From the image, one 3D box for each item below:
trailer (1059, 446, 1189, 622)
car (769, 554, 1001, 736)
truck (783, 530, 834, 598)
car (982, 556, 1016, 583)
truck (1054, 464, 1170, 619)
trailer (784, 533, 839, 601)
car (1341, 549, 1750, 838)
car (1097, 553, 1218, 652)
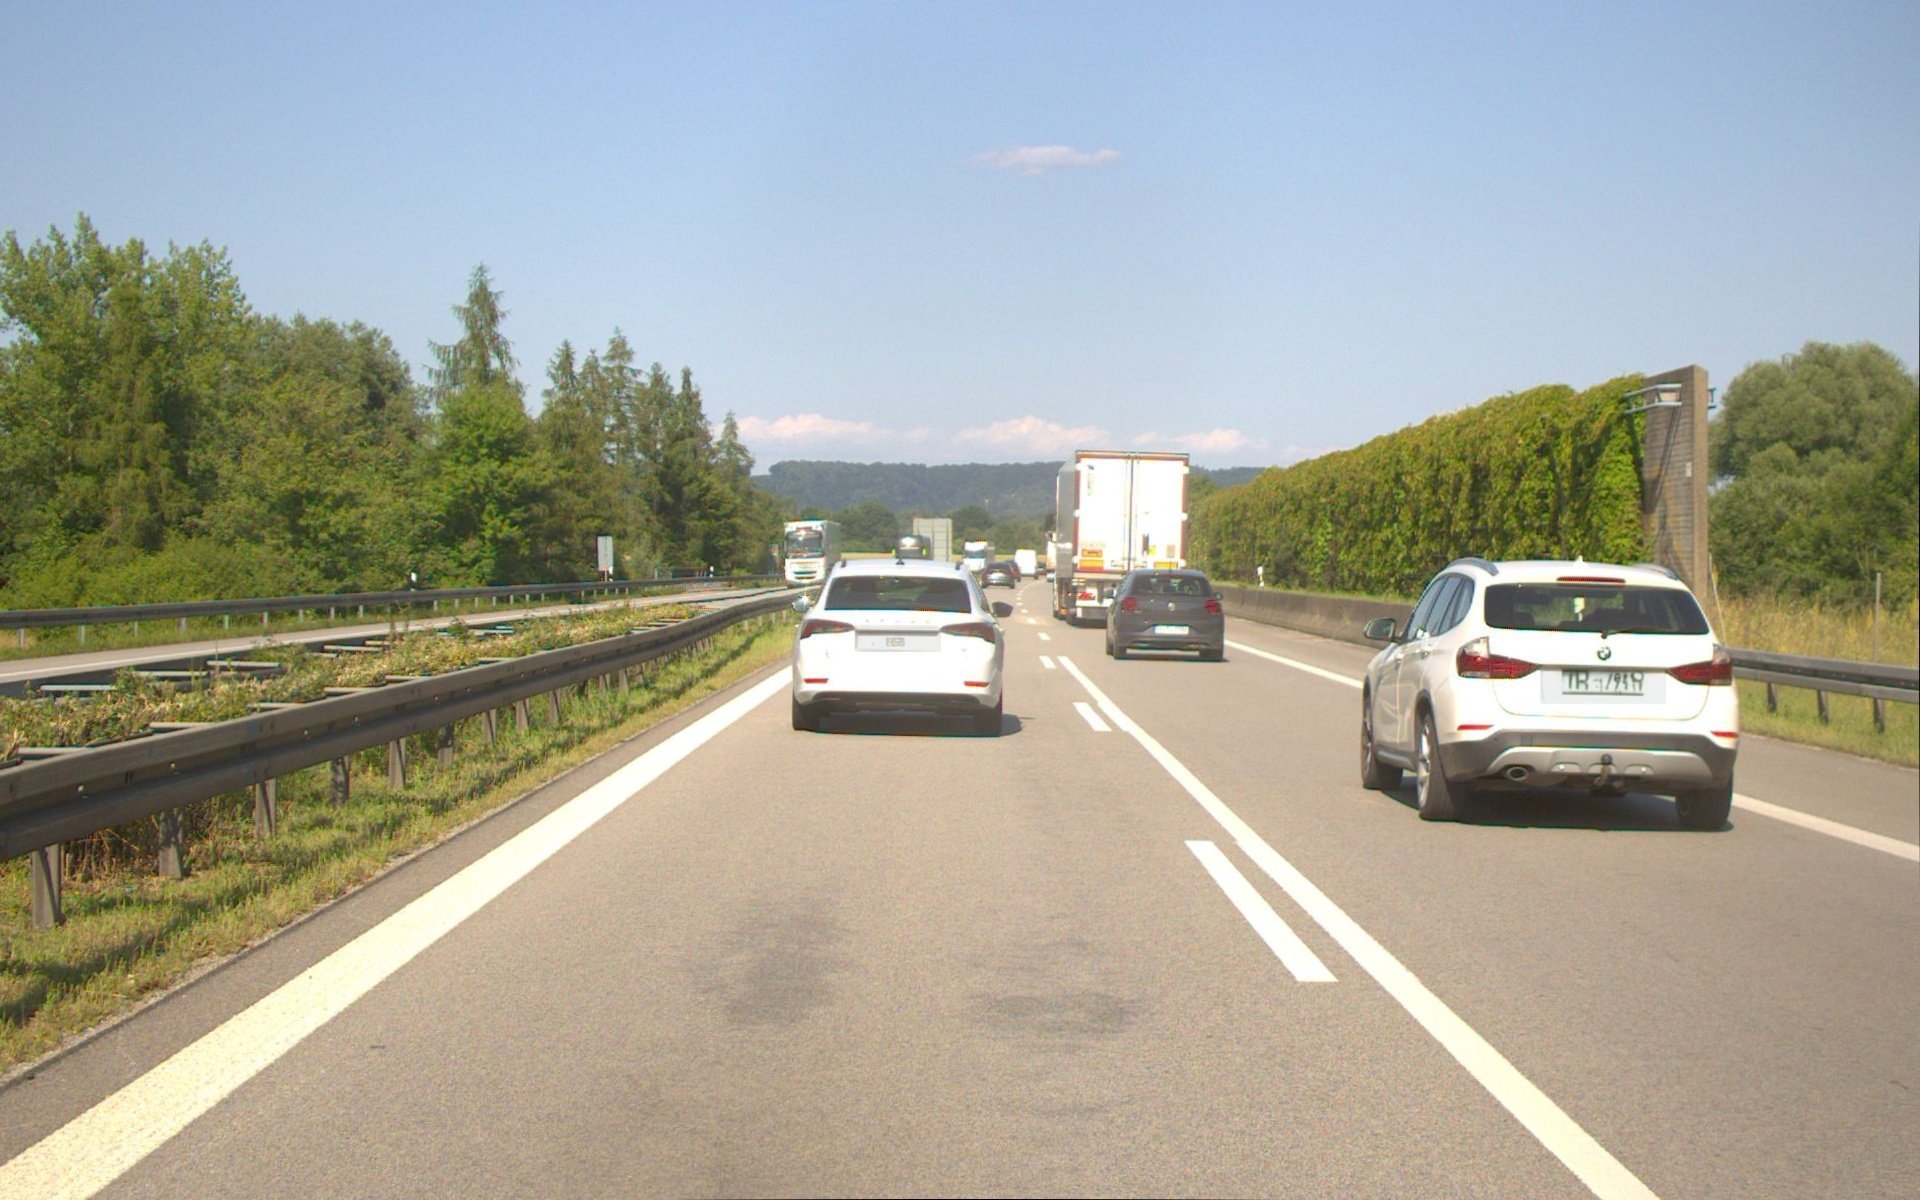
[{"bbox_3d":[3.922,-1.601,84.977,2.818,3.953,14.160,0,1,1],"label":"trailer"},{"bbox_3d":[-0.572,0.328,30.268,1.840,1.416,5.254,1,1,1],"label":"car"},{"bbox_3d":[-9.134,-2.186,207.673,2.644,3.994,7.193,-1,1,1],"label":"truck"},{"bbox_3d":[2.154,-1.683,190.291,1.771,1.416,4.495,1,1,0],"label":"car"},{"bbox_3d":[3.997,-1.551,91.721,2.840,3.953,7.044,0,1,1],"label":"truck"},{"bbox_3d":[-9.056,-2.065,211.096,2.661,3.994,14.088,-1,1,0],"label":"trailer"},{"bbox_3d":[3.514,0.481,21.502,1.684,1.491,4.987,2,1,0],"label":"car"},{"bbox_3d":[3.100,0.010,54.693,1.665,1.449,4.544,2,1,1],"label":"car"}]
